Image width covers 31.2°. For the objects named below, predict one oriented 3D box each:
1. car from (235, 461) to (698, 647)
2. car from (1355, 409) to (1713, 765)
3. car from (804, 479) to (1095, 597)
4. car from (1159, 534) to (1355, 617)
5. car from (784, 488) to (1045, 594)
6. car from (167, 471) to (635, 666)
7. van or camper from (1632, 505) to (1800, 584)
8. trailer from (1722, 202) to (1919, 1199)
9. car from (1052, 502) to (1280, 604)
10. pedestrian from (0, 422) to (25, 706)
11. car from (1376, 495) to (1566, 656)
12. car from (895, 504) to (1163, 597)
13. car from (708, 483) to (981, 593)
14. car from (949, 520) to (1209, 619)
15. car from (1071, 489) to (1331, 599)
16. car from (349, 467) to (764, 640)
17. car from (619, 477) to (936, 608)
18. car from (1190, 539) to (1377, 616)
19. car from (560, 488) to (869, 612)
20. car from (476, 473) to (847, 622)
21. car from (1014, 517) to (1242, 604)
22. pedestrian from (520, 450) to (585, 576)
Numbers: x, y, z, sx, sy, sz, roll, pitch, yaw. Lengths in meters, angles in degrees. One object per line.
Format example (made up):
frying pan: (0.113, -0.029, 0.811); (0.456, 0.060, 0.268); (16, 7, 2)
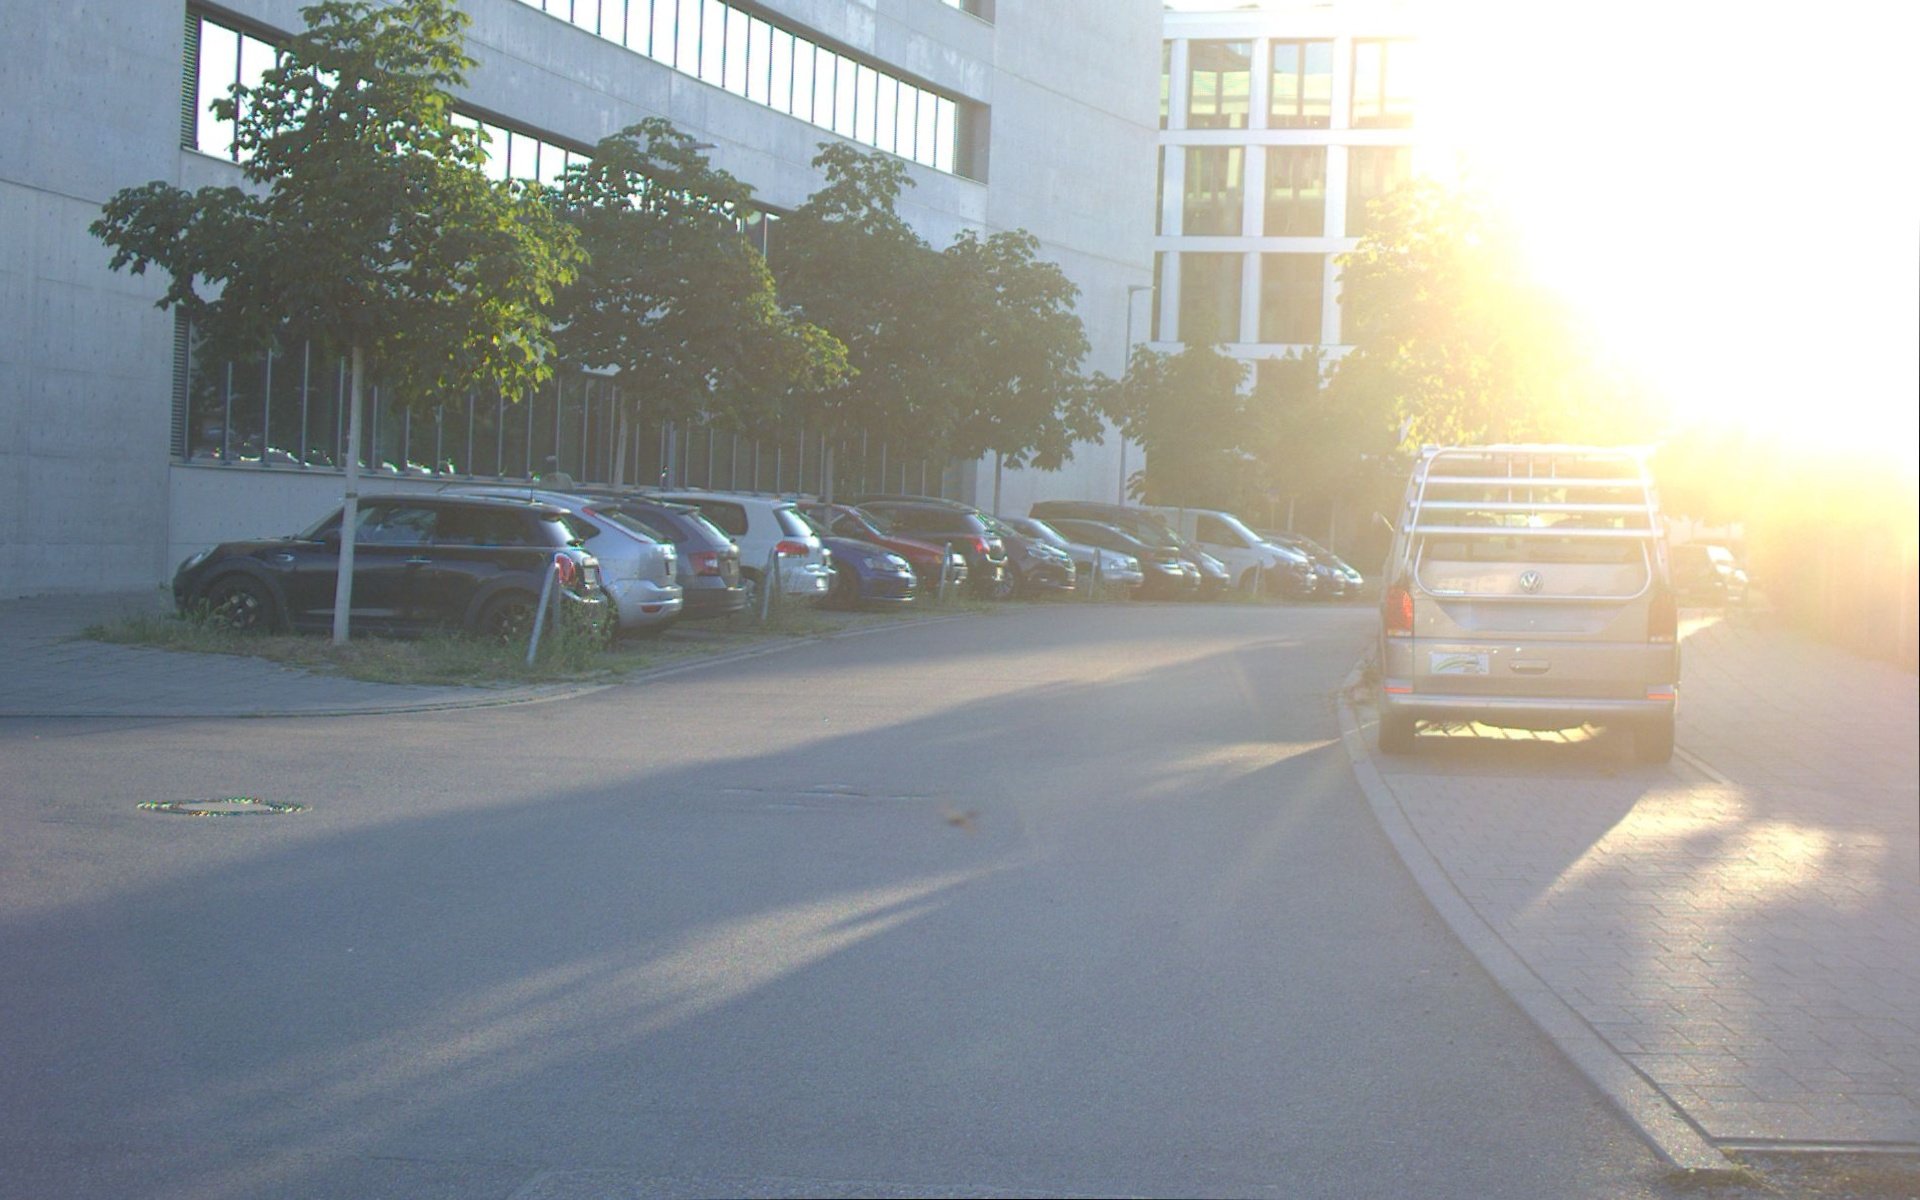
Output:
car: (-4.761, -0.459, 33.536); (4.086, 1.523, 1.846); (3, 2, 5)
car: (3.771, -0.148, 23.108); (2.066, 2.087, 4.871); (2, 2, 8)
car: (-0.156, -1.009, 55.766); (4.312, 1.690, 1.895); (3, 1, 14)
car: (6.608, -0.545, 76.379); (3.991, 1.517, 1.604); (5, 1, 17)
car: (-0.695, -0.917, 53.475); (3.704, 1.452, 1.678); (3, 1, 14)
car: (-4.953, -0.313, 30.721); (3.735, 1.477, 1.769); (3, 2, 5)
van or camper: (27.083, -2.004, 123.214); (5.460, 2.475, 1.773); (4, 3, 26)
trailer: (3.149, 0.259, 6.855); (2.064, 2.204, 5.223); (1, 2, 0)
car: (4.209, -0.953, 70.093); (4.251, 1.736, 1.723); (5, 1, 17)
pedestrian: (-6.739, -0.249, 22.395); (0.856, 1.844, 0.900); (3, 3, 42)
car: (5.381, -0.290, 35.882); (1.741, 1.546, 3.638); (2, 2, 11)
car: (1.241, -0.907, 61.634); (4.437, 1.459, 1.762); (3, 2, 17)
car: (-1.710, -0.925, 51.307); (3.704, 1.452, 1.710); (3, 1, 12)
car: (2.211, -0.567, 63.832); (4.402, 1.494, 1.761); (5, 1, 21)
car: (5.142, -1.188, 73.325); (5.081, 1.940, 1.887); (5, 1, 18)
car: (-4.172, -0.508, 35.851); (3.998, 1.507, 1.585); (3, 3, 5)
car: (-2.427, -0.786, 46.117); (3.872, 1.506, 1.759); (3, 2, 12)
car: (7.402, -0.517, 78.632); (3.890, 1.483, 1.650); (4, 2, 19)
car: (-3.119, -0.655, 44.007); (3.634, 1.357, 1.686); (3, 2, 7)
car: (-3.508, -0.634, 40.667); (3.989, 1.506, 1.759); (3, 2, 10)
car: (3.339, -0.785, 68.239); (4.148, 1.399, 1.723); (5, 1, 17)
pedestrian: (-5.872, -1.253, 49.574); (0.646, 1.778, 0.725); (3, 1, 11)
